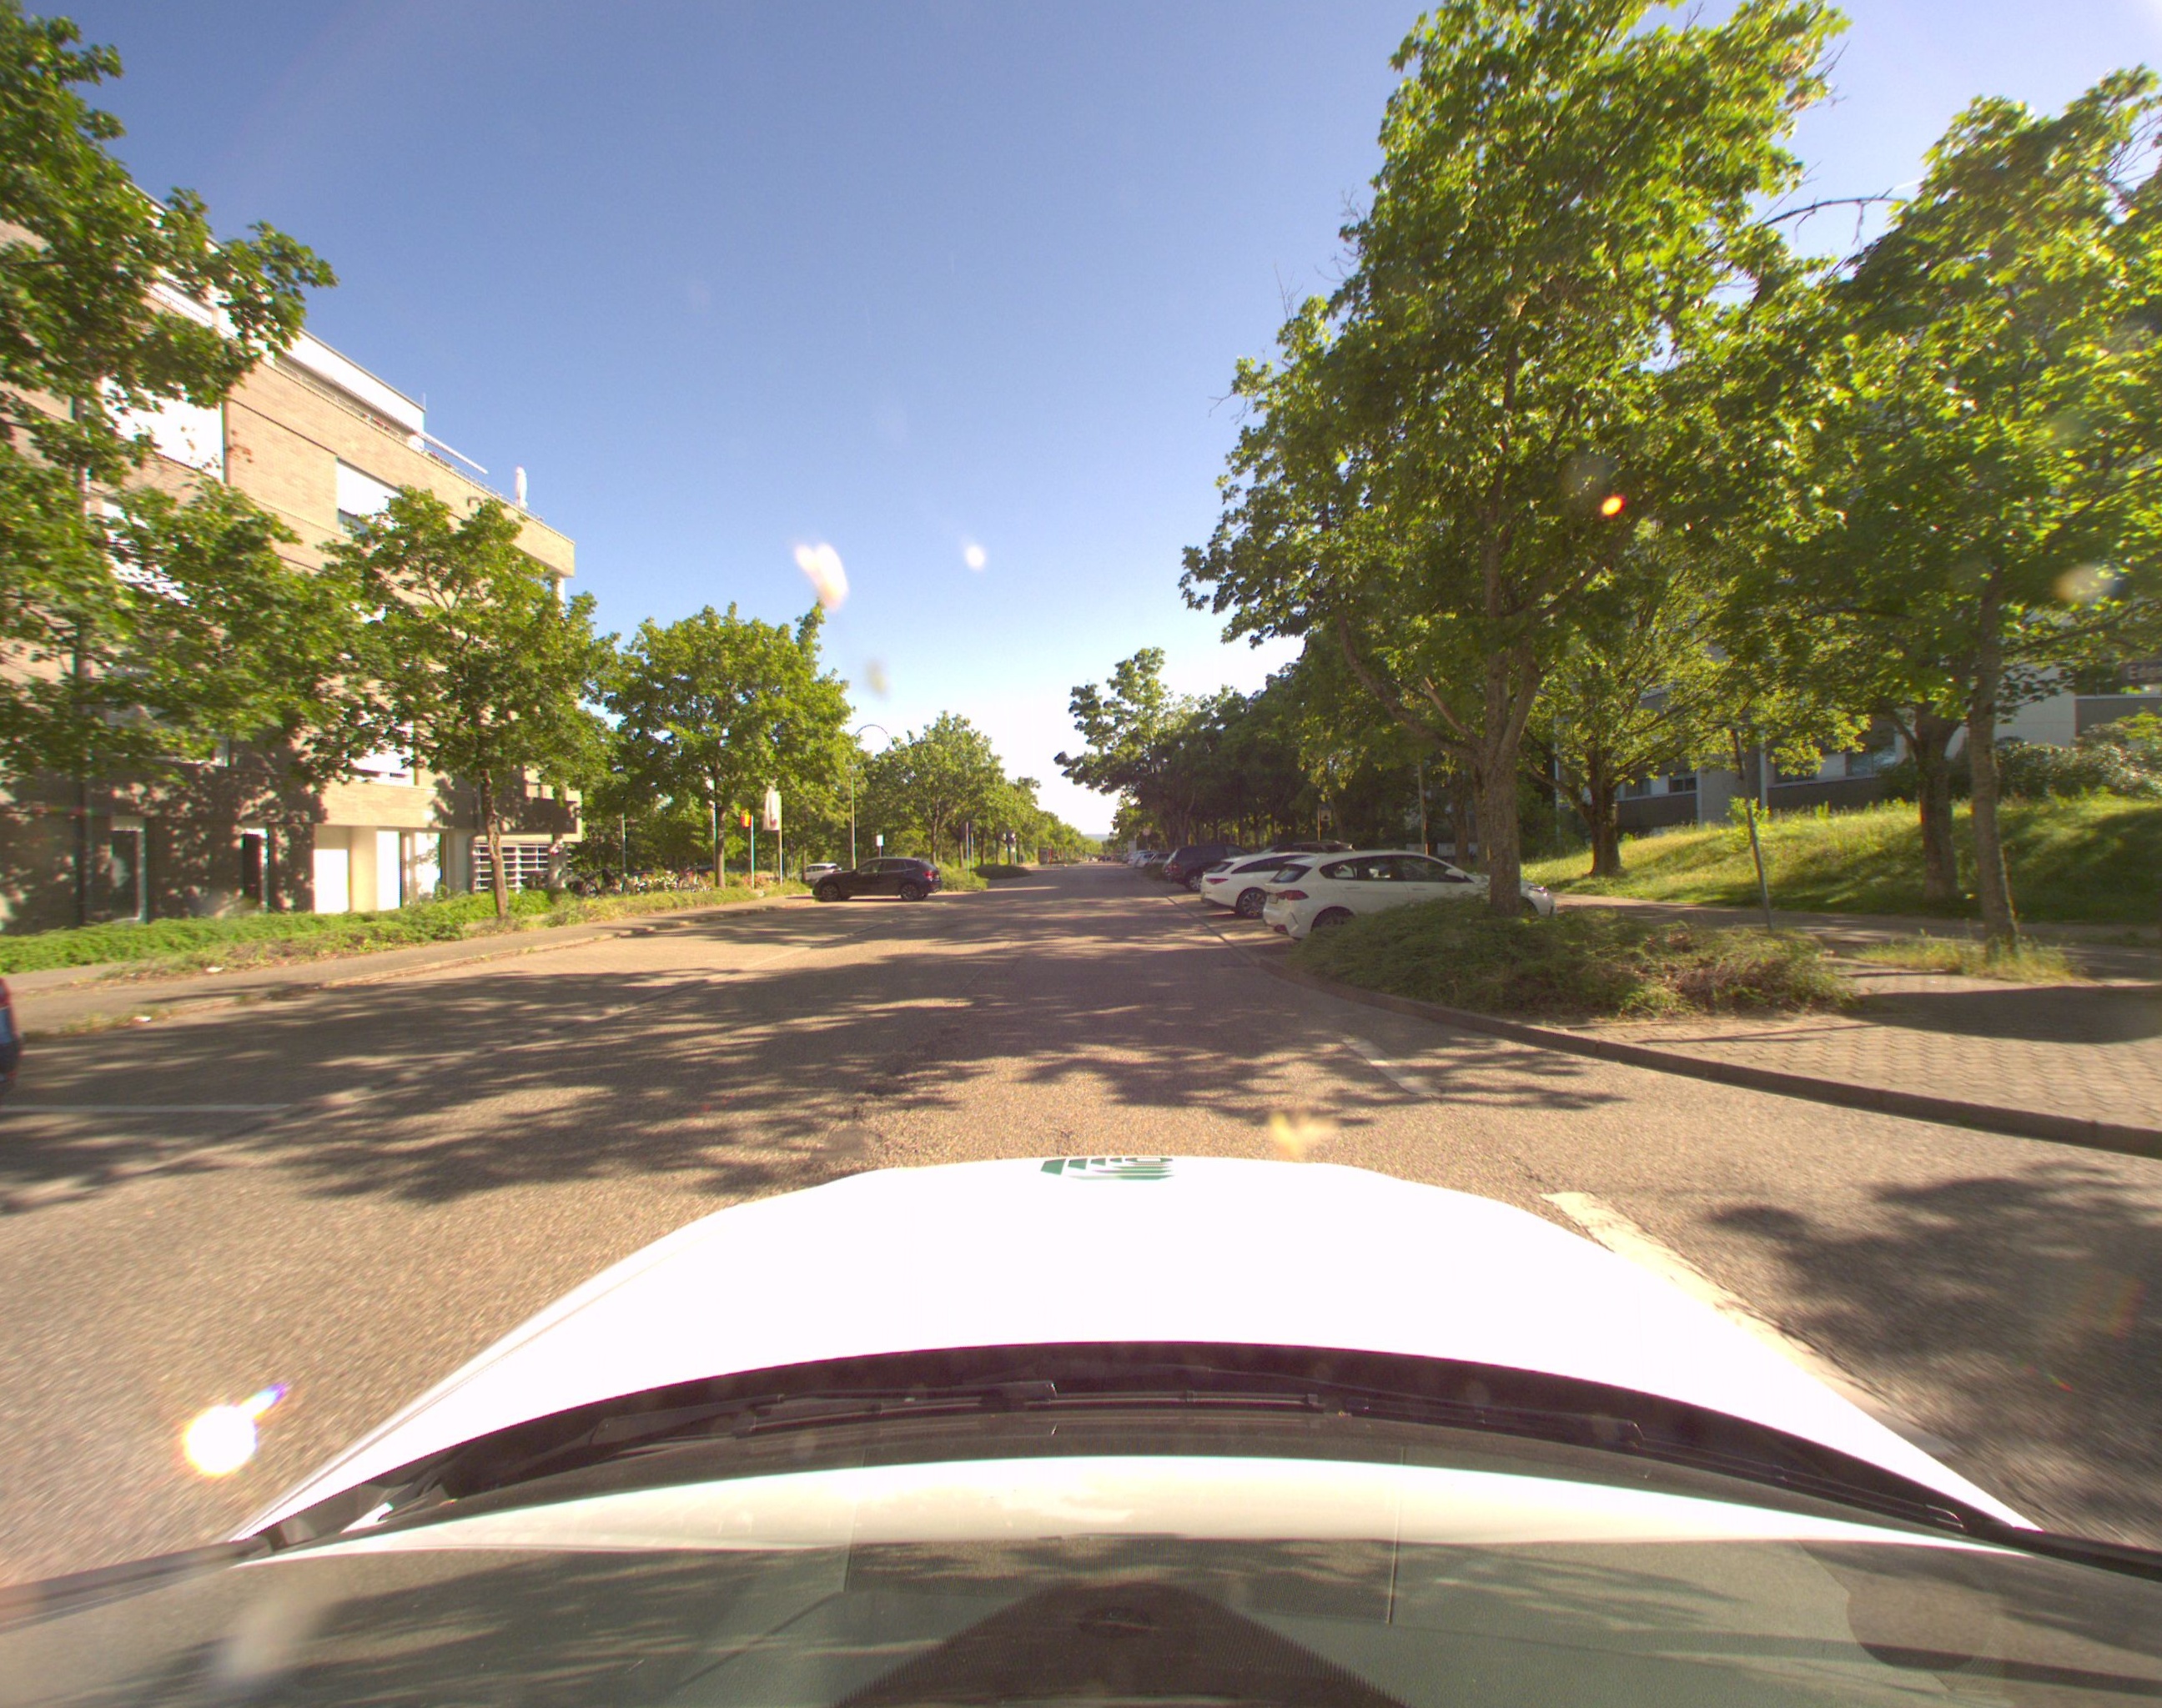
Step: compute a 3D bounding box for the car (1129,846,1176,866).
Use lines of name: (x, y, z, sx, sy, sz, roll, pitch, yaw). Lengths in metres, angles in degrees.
car: (7.001, 0.167, 79.947, 4.421, 1.647, 1.816, -4, 0, -1)

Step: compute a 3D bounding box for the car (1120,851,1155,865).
car: (7.055, 0.506, 101.621, 4.149, 1.428, 2.000, -4, 0, 1)

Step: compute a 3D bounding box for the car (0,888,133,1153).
car: (-7.857, 0.937, 4.062, 3.977, 1.411, 1.816, -1, 0, -3)

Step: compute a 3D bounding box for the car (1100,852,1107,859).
car: (6.669, 0.448, 239.519, 1.986, 2.013, 4.002, -1, 0, 2)

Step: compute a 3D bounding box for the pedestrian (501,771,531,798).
pedestrian: (-17.797, -2.188, 25.666, 0.680, 0.798, 0.362, -1, 0, -6)

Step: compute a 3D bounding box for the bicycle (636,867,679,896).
bicycle: (-16.375, 1.054, 31.529, 0.435, 1.047, 2.194, -1, 0, 2)

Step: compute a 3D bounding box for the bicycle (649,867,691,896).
bicycle: (-15.884, 1.058, 31.503, 0.435, 1.047, 2.194, -1, 0, 2)

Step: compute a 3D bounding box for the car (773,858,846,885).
car: (-17.432, 1.129, 52.456, 4.061, 1.451, 1.626, -3, 0, 2)

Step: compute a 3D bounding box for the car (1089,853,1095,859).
car: (3.534, 0.611, 257.637, 1.821, 1.775, 3.741, -1, 0, 2)

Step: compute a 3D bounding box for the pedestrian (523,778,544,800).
pedestrian: (-17.792, -2.122, 26.482, 0.415, 0.686, 0.426, -1, 0, -7)

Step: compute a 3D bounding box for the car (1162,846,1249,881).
car: (6.088, 0.455, 40.105, 3.973, 1.387, 1.823, -4, 0, 1)

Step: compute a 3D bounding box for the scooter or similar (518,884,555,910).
scooter or similar: (-21.302, 1.690, 31.883, 0.799, 0.954, 0.869, -2, -1, 5)

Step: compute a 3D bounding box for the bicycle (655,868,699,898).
bicycle: (-14.834, 1.044, 29.957, 0.435, 1.047, 2.194, -1, 0, 2)

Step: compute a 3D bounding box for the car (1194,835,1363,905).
car: (5.261, 0.436, 22.066, 4.106, 1.618, 1.733, -3, -1, -1)

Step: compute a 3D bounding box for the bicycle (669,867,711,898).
bicycle: (-14.353, 1.038, 29.957, 0.435, 1.047, 2.194, -1, 0, 2)

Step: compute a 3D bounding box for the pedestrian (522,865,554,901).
pedestrian: (-21.285, 1.132, 31.917, 0.739, 1.334, 0.670, -2, 0, 2)

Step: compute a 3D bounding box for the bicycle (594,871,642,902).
bicycle: (-17.001, 1.164, 29.938, 0.435, 1.047, 2.194, -1, 0, 2)

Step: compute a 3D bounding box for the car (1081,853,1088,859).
car: (1.139, 0.572, 257.152, 1.986, 1.802, 4.002, -1, 0, 2)

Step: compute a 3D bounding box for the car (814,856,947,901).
car: (-6.996, 0.838, 28.696, 4.176, 1.520, 1.773, -1, 0, 2)

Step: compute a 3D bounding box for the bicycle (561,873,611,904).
bicycle: (-18.343, 1.252, 30.235, 0.435, 1.047, 2.194, -1, 0, 2)

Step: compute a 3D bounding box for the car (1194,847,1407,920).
car: (4.960, 0.648, 18.793, 4.430, 1.545, 1.816, -1, 0, -2)

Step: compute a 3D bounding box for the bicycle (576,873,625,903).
bicycle: (-17.809, 1.236, 30.225, 0.435, 1.047, 2.194, -1, 0, 2)

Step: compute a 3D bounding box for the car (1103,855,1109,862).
car: (7.860, 1.393, 254.594, 1.986, 2.013, 4.002, -1, 0, 2)

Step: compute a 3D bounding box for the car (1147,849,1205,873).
car: (6.786, 0.488, 58.532, 3.972, 1.451, 1.718, -3, 0, 1)

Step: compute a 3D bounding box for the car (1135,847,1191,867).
car: (6.378, 0.226, 63.447, 4.253, 1.428, 1.830, -1, 0, 6)

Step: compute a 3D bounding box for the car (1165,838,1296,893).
car: (5.597, 0.426, 30.924, 4.570, 1.779, 2.001, -3, 0, 1)

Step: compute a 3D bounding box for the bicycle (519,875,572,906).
bicycle: (-19.819, 1.321, 30.186, 0.435, 1.047, 2.194, -1, 0, 2)

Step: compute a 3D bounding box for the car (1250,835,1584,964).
car: (5.086, 0.657, 12.758, 4.414, 1.593, 1.836, -3, 0, -2)

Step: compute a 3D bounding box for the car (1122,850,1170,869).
car: (6.111, 0.505, 77.260, 4.329, 1.489, 1.737, -4, 0, -1)

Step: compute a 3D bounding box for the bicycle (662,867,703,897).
bicycle: (-15.366, 1.063, 31.485, 0.435, 1.047, 2.194, -1, 0, 2)

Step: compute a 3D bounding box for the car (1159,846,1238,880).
car: (6.158, 0.463, 42.887, 3.799, 1.499, 1.700, -4, 0, -2)
